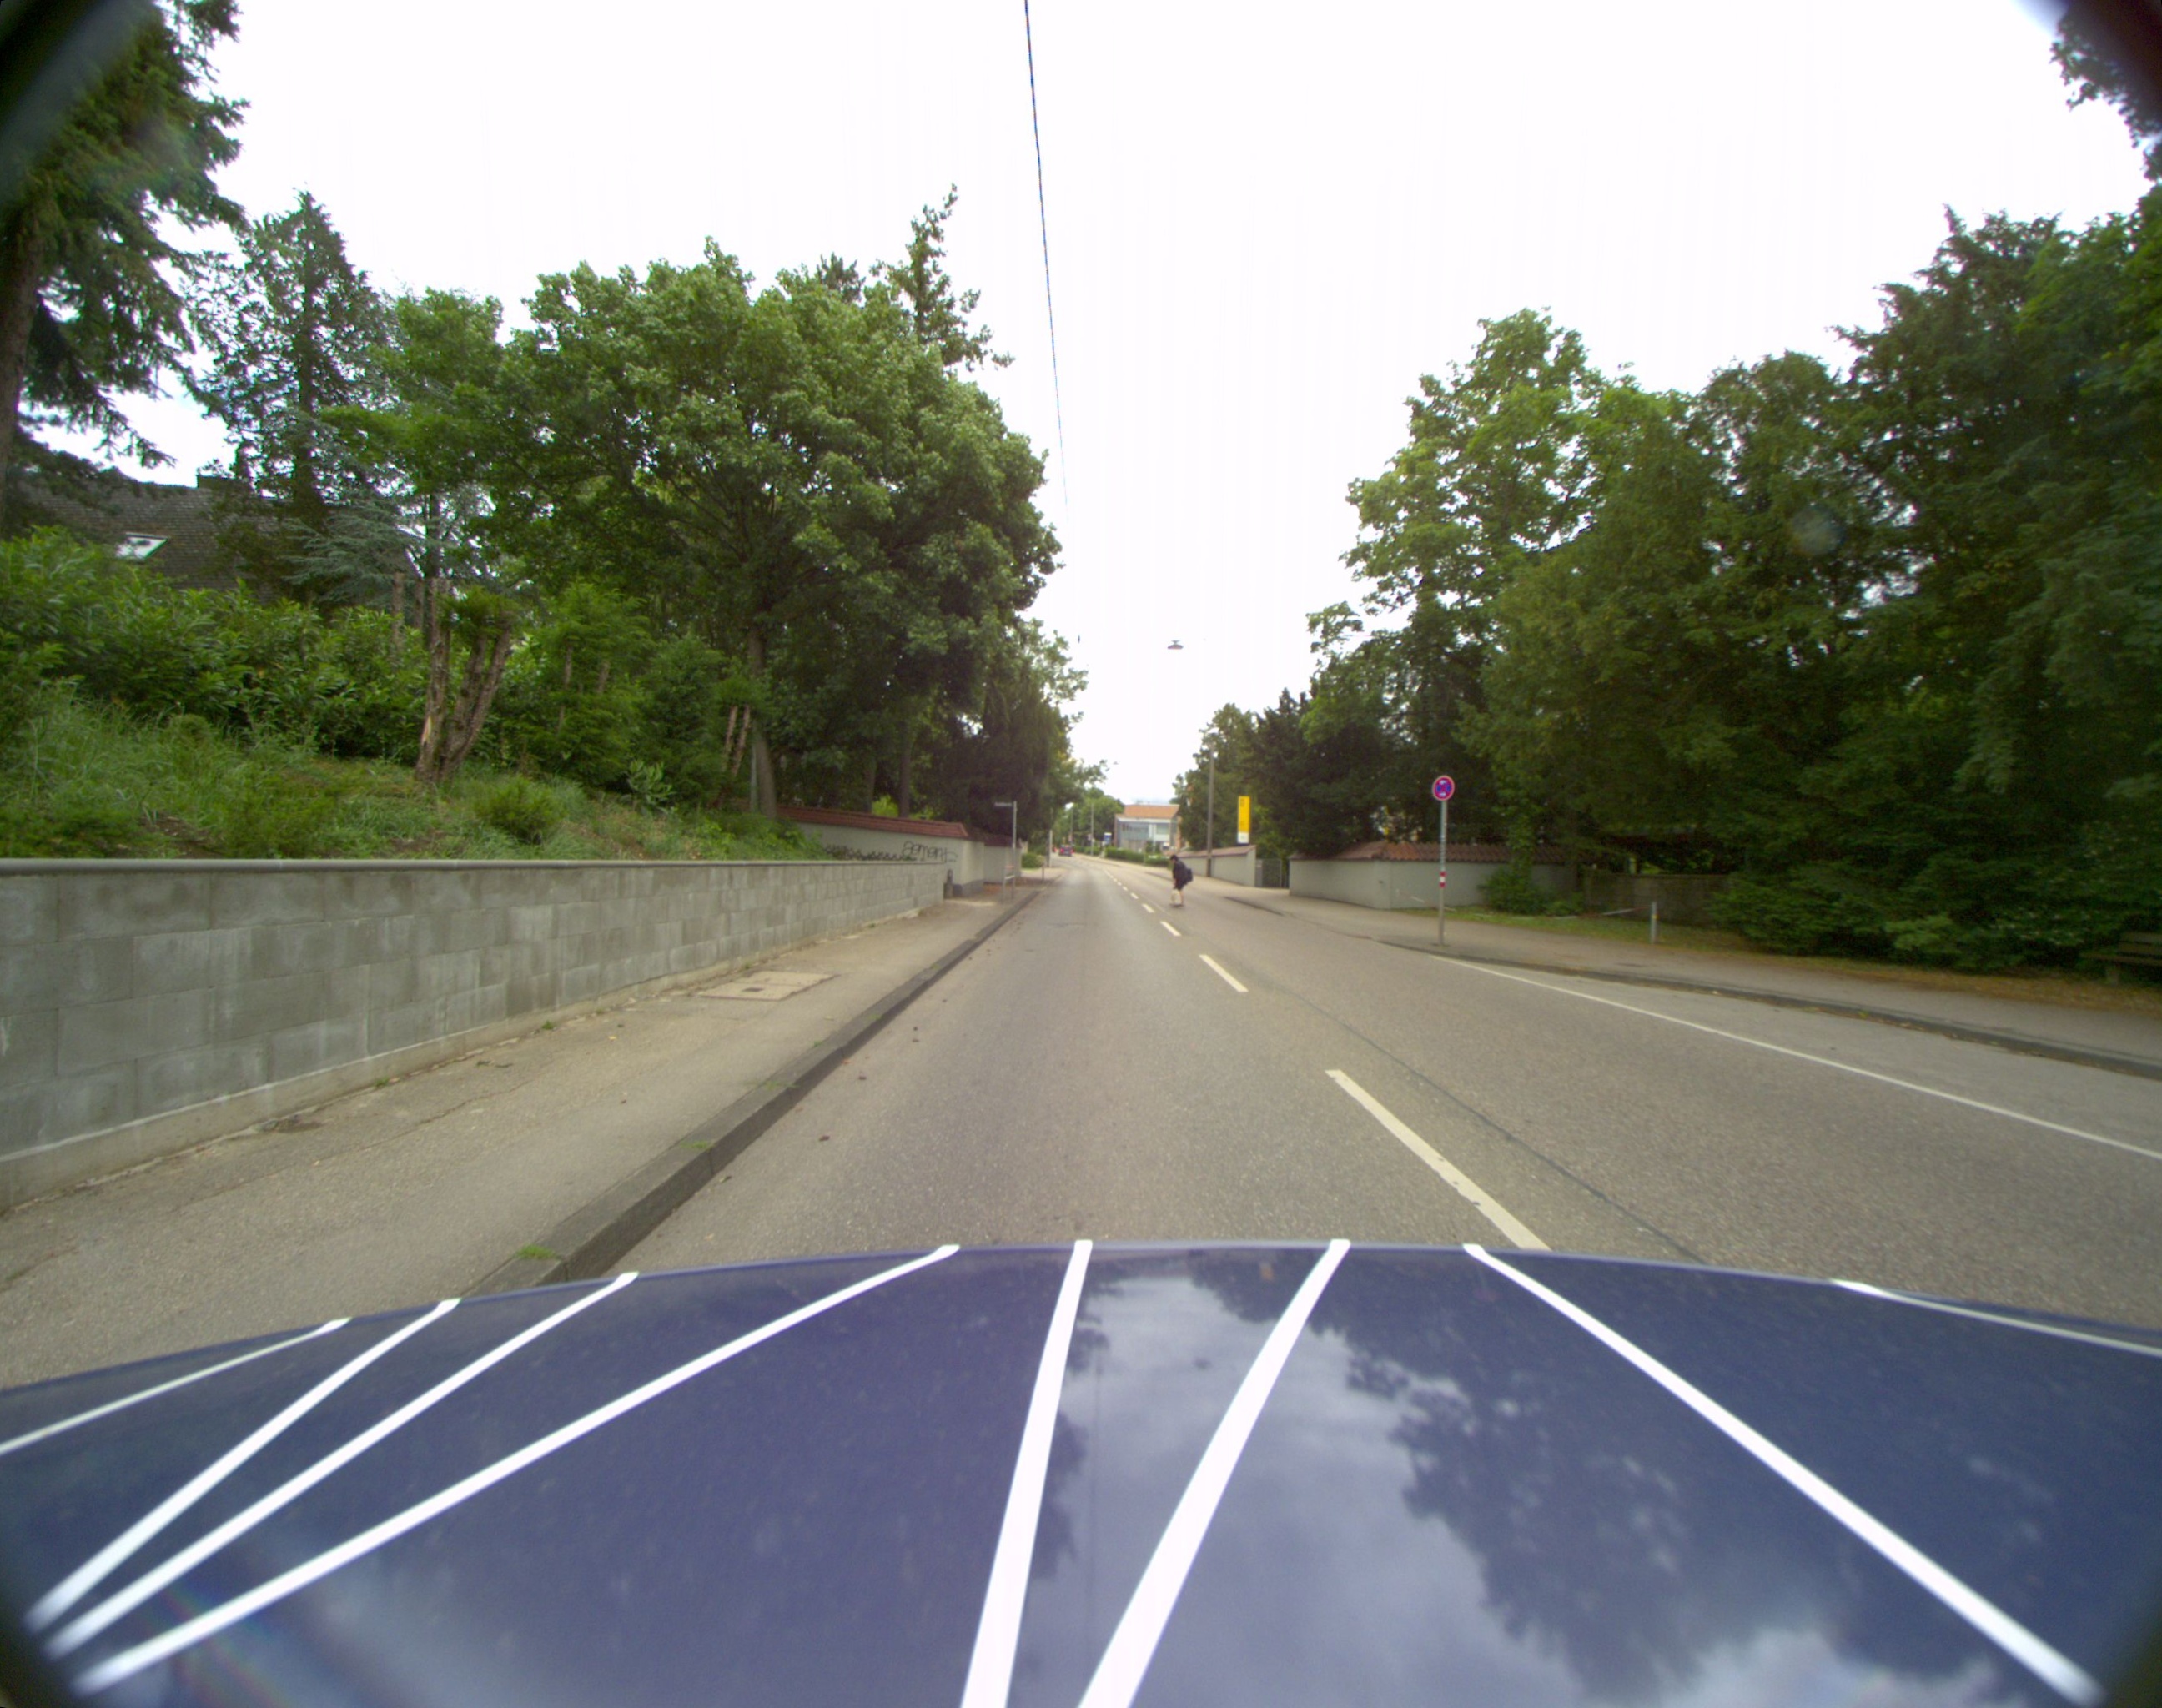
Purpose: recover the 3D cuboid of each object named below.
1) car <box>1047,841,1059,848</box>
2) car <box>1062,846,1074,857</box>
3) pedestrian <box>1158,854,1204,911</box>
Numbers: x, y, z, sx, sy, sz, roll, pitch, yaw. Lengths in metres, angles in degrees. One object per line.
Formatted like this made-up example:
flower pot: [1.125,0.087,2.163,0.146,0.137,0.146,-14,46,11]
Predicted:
car: [-5.946,-1.963,160.416,1.792,1.420,3.994,2,0,-15]
car: [-2.138,-0.457,130.527,1.895,1.845,5.082,4,0,0]
pedestrian: [2.873,0.803,21.746,0.900,1.551,0.931,2,1,37]
